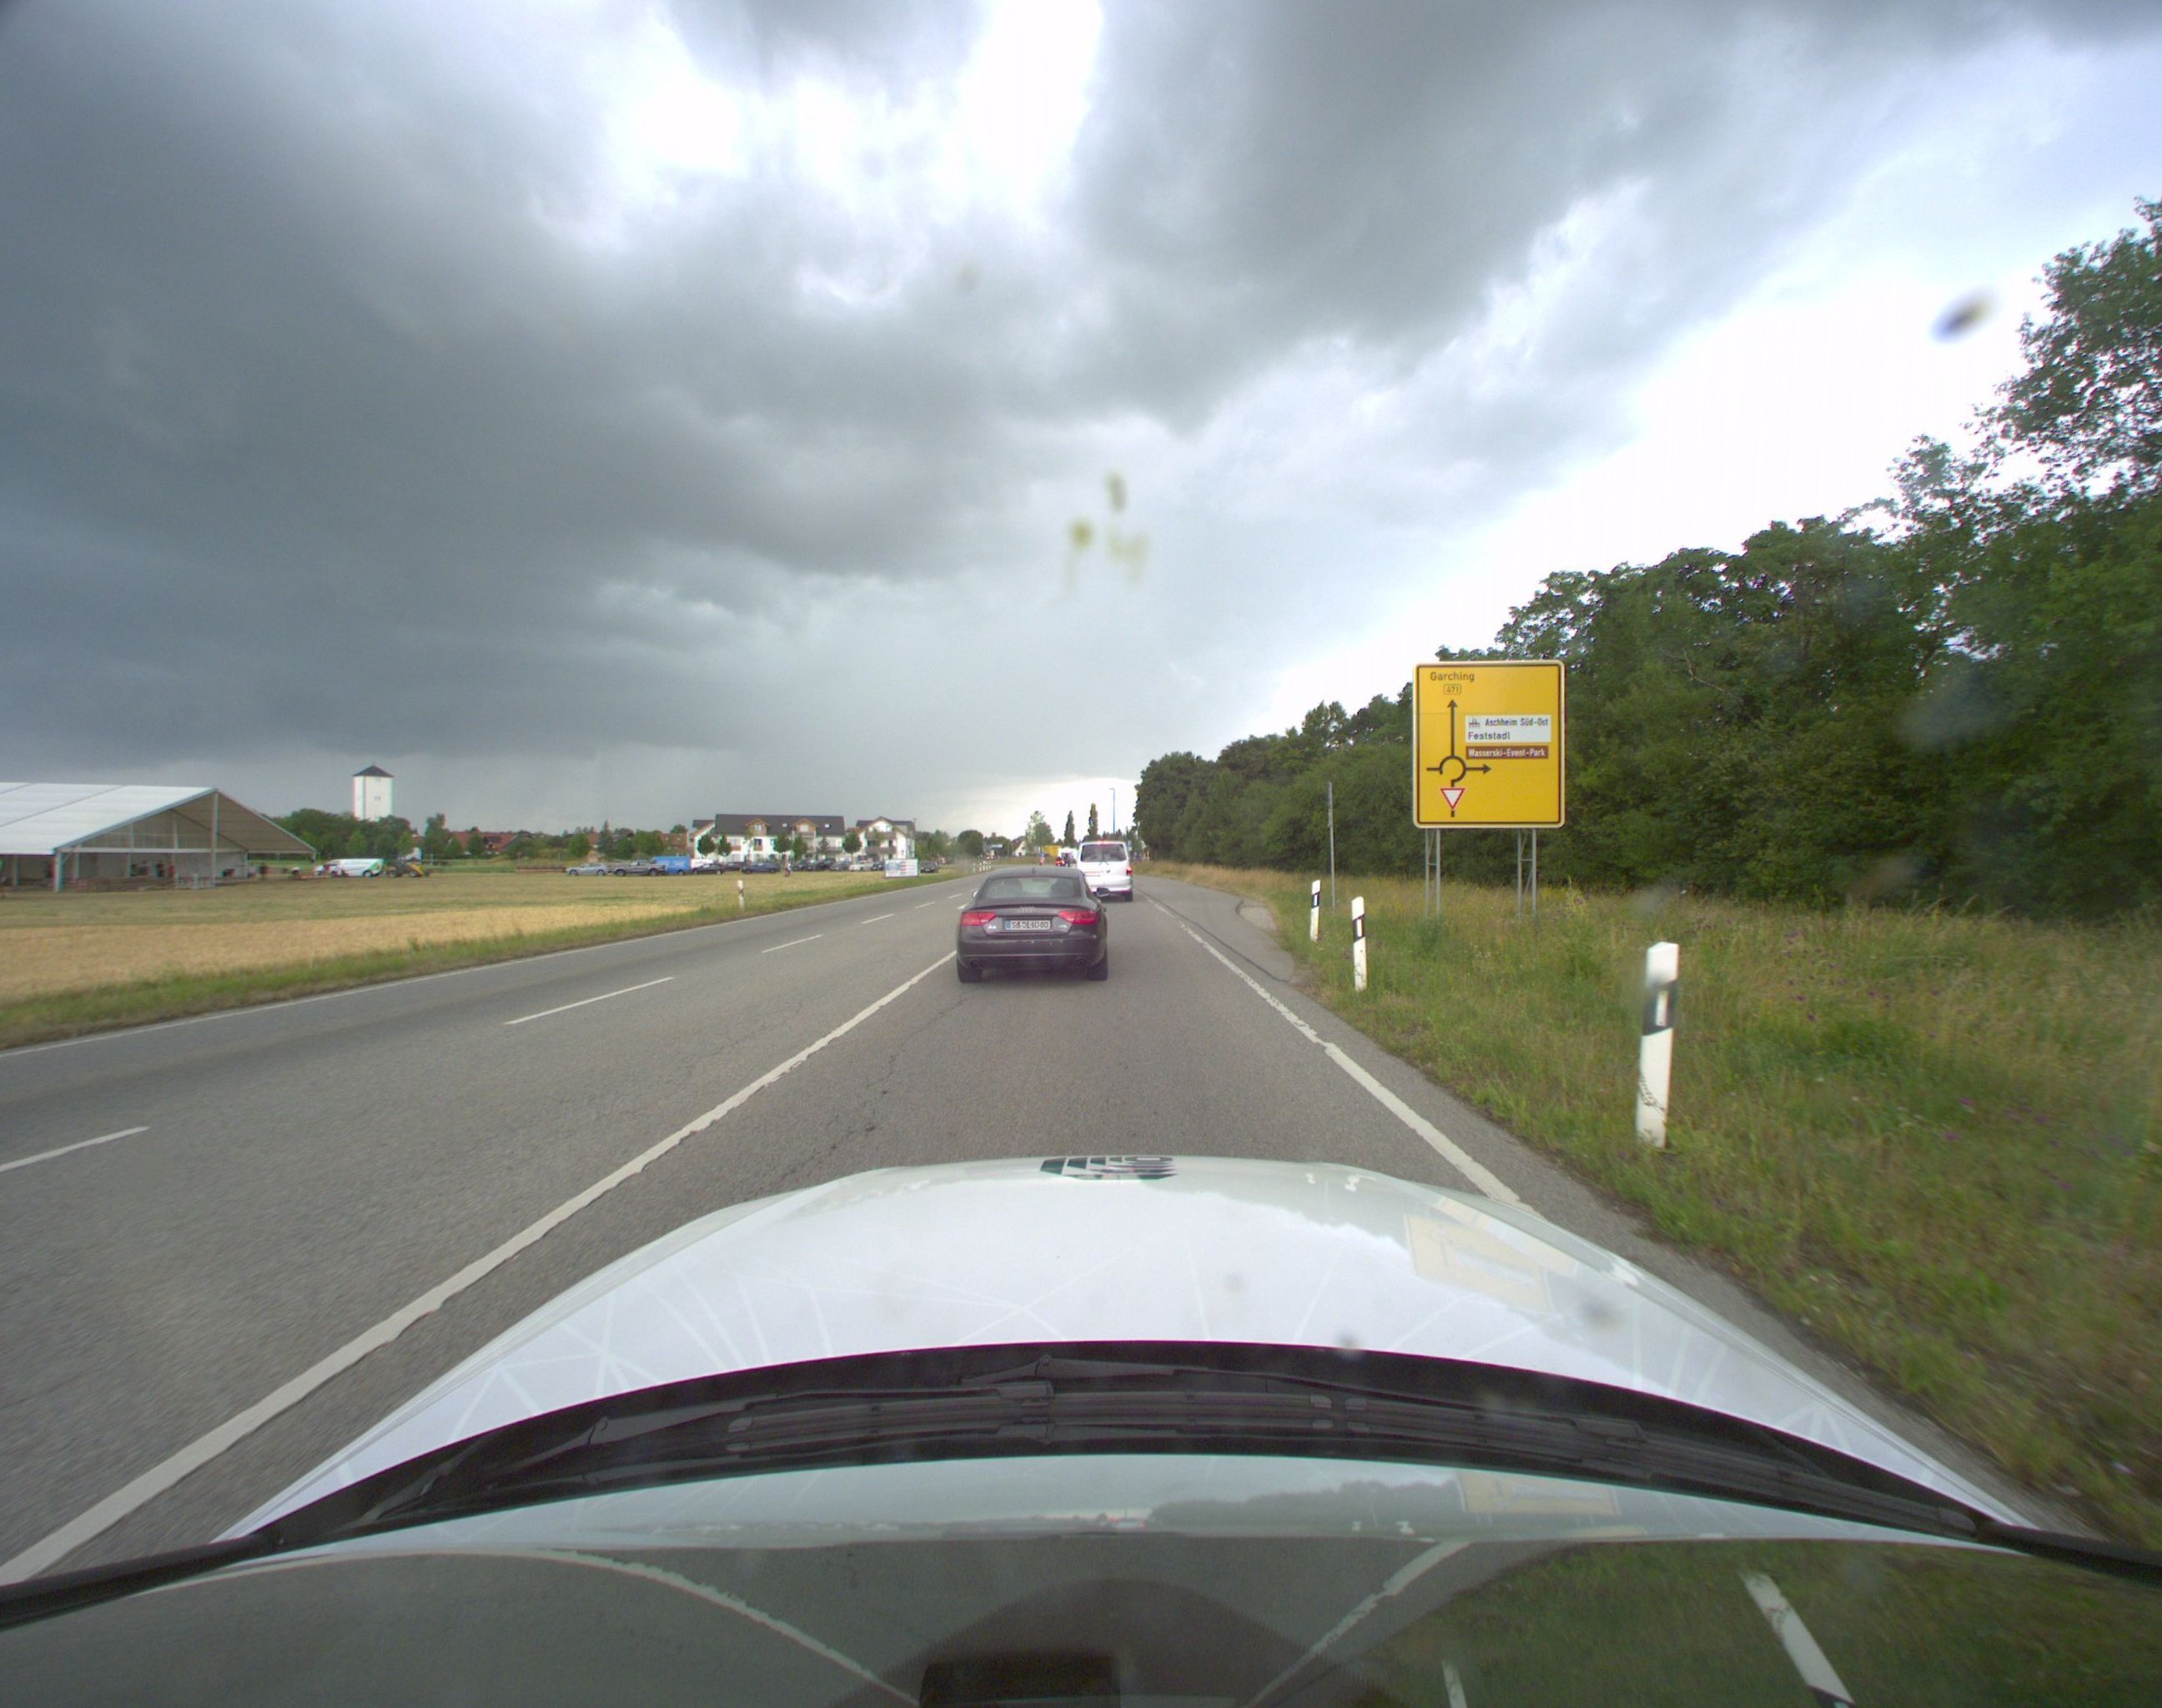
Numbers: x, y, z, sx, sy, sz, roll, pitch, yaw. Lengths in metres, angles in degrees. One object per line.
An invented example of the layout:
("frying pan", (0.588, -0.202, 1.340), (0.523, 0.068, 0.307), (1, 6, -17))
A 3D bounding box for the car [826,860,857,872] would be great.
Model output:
("car", (-32.302, 1.626, 110.030), (1.977, 1.536, 4.232), (-1, 0, 19))

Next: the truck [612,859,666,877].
("truck", (-49.664, 1.594, 91.568), (5.254, 1.920, 2.094), (0, -1, -26))

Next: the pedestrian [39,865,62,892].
("pedestrian", (-76.856, 1.843, 60.733), (0.867, 2.014, 0.772), (-1, -1, 19))

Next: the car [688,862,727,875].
("car", (-45.994, 1.815, 100.450), (4.169, 1.519, 1.987), (0, 0, -20))

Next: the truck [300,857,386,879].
("truck", (-76.435, 1.444, 84.490), (6.077, 2.217, 2.697), (0, 0, -27))

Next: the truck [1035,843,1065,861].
("truck", (-6.380, -0.322, 166.161), (3.585, 3.578, 9.897), (0, 0, -17))

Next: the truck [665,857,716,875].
("truck", (-49.472, 1.523, 103.292), (5.587, 2.196, 2.587), (0, 0, -23))

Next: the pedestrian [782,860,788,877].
("pedestrian", (-32.736, 1.605, 90.019), (0.548, 1.786, 0.675), (0, -1, -11))

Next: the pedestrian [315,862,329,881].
("pedestrian", (-72.576, 1.692, 77.898), (0.689, 1.776, 0.691), (0, -1, -13))

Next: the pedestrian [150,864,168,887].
("pedestrian", (-74.232, 1.714, 65.567), (0.733, 1.779, 0.753), (0, -1, -27))

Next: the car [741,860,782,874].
("car", (-40.282, 1.601, 102.732), (4.731, 1.697, 1.987), (0, 0, -20))

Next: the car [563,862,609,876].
("car", (-56.405, 1.720, 92.893), (4.317, 1.461, 1.875), (0, 0, -26))

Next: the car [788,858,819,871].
("car", (-38.421, 1.443, 112.859), (1.977, 1.629, 4.232), (-1, 0, 19))

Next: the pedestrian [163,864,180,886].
("pedestrian", (-73.536, 1.718, 65.823), (0.656, 1.744, 0.722), (0, -1, -20))

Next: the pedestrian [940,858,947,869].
("pedestrian", (-19.738, 1.360, 117.021), (0.695, 1.586, 0.660), (-1, -1, 17))

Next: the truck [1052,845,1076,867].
("truck", (-2.197, 0.273, 104.399), (2.623, 2.737, 5.854), (0, 0, -6))

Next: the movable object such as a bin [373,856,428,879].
("movable object such as a bin", (-69.905, 1.341, 83.738), (4.007, 2.243, 1.869), (0, -1, -28))

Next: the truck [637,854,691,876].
("truck", (-48.948, 1.280, 95.814), (5.470, 2.446, 2.376), (0, -1, -23))

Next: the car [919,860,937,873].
("car", (-18.169, 1.520, 96.768), (1.994, 1.442, 3.986), (0, 0, -10))

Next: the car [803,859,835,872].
("car", (-35.455, 1.583, 110.471), (1.977, 1.629, 4.232), (-1, 0, 19))

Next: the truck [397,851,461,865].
("truck", (-118.964, 0.728, 148.694), (9.300, 2.530, 3.305), (0, 0, 5))

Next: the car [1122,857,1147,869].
("car", (9.683, 1.637, 147.555), (3.953, 2.014, 2.010), (0, -1, 20))

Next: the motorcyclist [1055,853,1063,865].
("motorcyclist", (-2.500, 0.571, 93.033), (0.784, 1.356, 0.852), (0, 0, -6))

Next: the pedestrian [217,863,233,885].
("pedestrian", (-71.946, 1.671, 68.480), (0.690, 1.776, 0.690), (0, -1, -20))

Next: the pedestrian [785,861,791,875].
("pedestrian", (-32.780, 1.610, 91.128), (0.591, 1.555, 0.622), (0, -1, -18))

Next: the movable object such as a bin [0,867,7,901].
("movable object such as a bin", (-61.428, 1.682, 43.744), (2.600, 1.864, 4.440), (0, 0, -22))

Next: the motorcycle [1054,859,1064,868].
("motorcycle", (-2.500, 1.052, 93.111), (0.943, 1.019, 2.280), (0, 0, -5))

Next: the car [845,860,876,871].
("car", (-29.590, 1.505, 109.506), (1.977, 1.446, 4.232), (-1, 0, 19))

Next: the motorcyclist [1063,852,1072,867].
("motorcyclist", (-1.211, 0.518, 75.029), (0.769, 1.383, 0.821), (0, -1, 3))

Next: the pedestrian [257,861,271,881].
("pedestrian", (-74.164, 1.531, 73.897), (0.625, 1.866, 0.704), (0, -1, -18))

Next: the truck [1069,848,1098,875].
("truck", (0.215, 0.570, 64.699), (2.186, 2.014, 5.085), (-1, 0, 1))

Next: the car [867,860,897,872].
("car", (-26.667, 1.602, 109.210), (1.977, 1.446, 4.232), (-1, 0, 19))

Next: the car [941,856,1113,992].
("car", (-0.579, 0.778, 11.051), (1.869, 1.454, 4.176), (-1, 0, 0))

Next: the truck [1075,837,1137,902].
("truck", (0.808, 0.472, 27.636), (1.897, 1.998, 4.629), (-1, 0, 1))

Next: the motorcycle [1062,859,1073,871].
("motorcycle", (-1.227, 1.024, 75.123), (0.916, 1.094, 2.190), (0, 0, 3))

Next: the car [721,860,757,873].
("car", (-47.944, 1.768, 114.244), (4.641, 1.697, 1.987), (0, 0, -20))
